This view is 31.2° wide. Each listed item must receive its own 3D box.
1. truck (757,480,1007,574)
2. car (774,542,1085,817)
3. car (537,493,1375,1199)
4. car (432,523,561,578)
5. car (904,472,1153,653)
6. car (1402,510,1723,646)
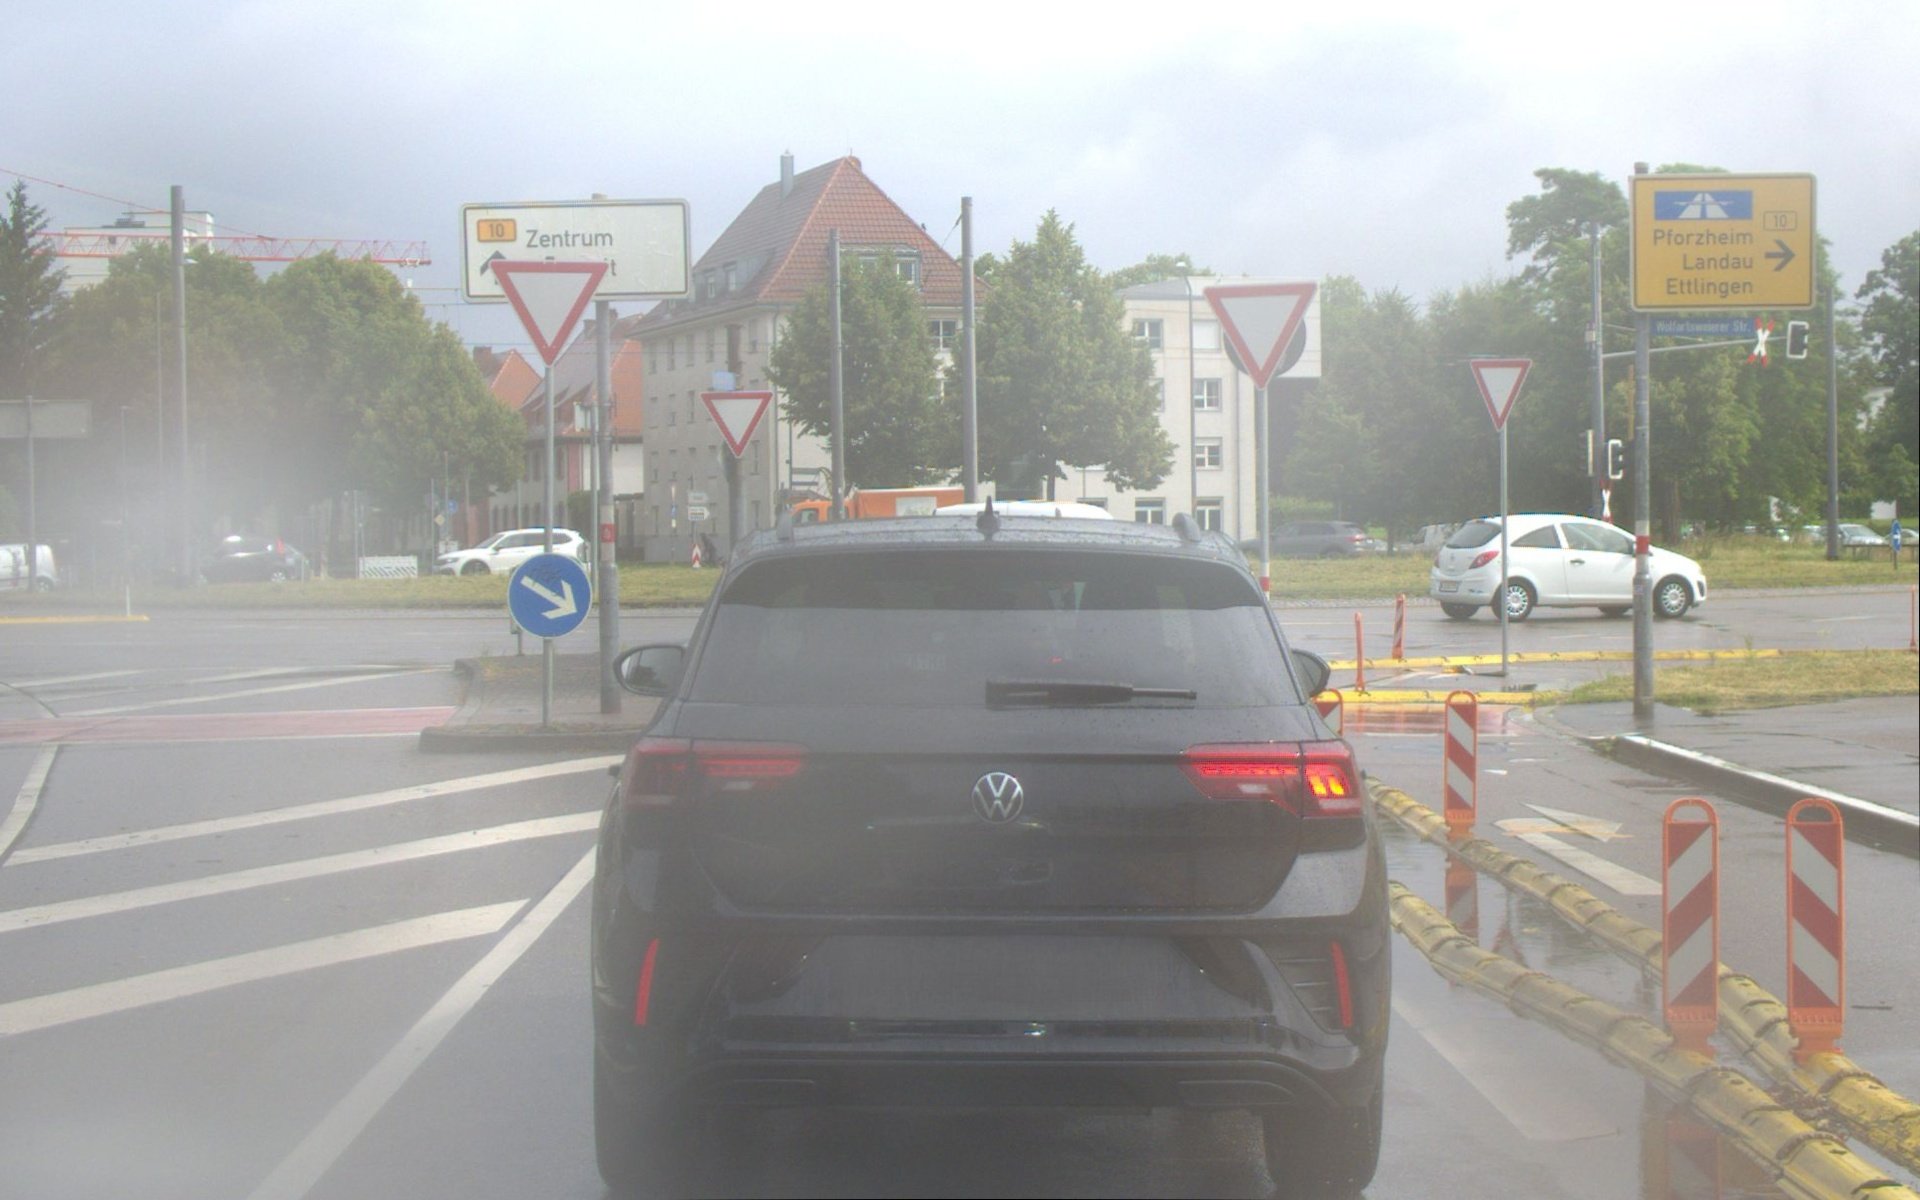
[{"bbox_3d":[-2.291,-2.120,99.291,7.065,2.641,2.330,0,1,-5],"label":"truck"},{"bbox_3d":[-0.245,0.415,21.030,1.735,1.509,3.604,0,1,-2],"label":"car"},{"bbox_3d":[-0.115,0.542,8.866,1.708,1.568,3.683,0,1,-3],"label":"car"},{"bbox_3d":[-13.555,-1.466,100.532,3.494,1.579,1.568,-1,1,-21],"label":"car"},{"bbox_3d":[0.800,-0.427,36.601,1.865,1.803,4.402,0,1,12],"label":"car"},{"bbox_3d":[8.497,-0.335,48.563,3.986,1.824,2.001,-1,1,-19],"label":"car"}]
